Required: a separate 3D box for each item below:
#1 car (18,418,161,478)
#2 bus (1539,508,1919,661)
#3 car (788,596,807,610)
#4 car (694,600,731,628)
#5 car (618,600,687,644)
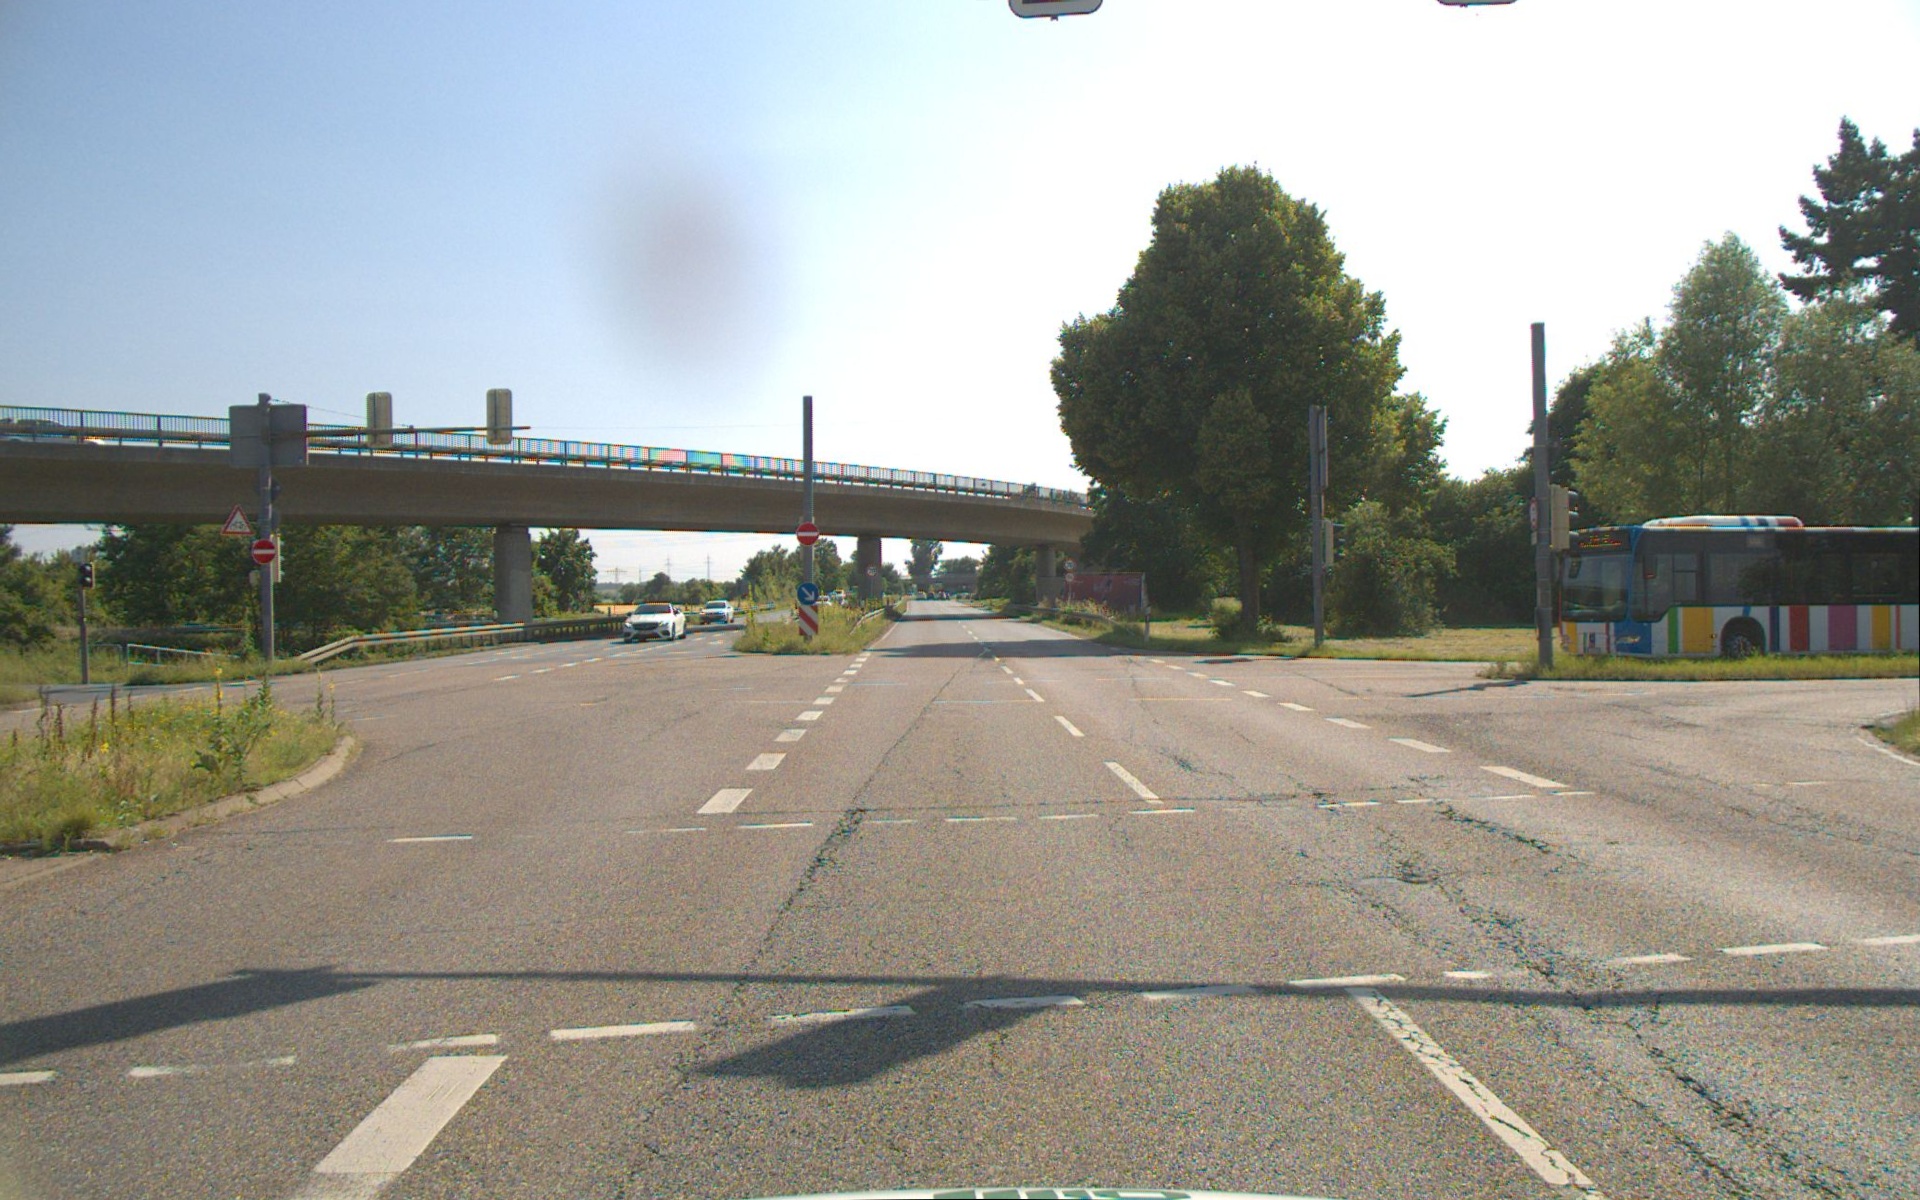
[{"bbox_3d":[-28.105,-4.888,53.482,1.709,1.495,3.734,1,-1,37],"label":"car"},{"bbox_3d":[18.451,-0.419,35.616,11.745,2.927,2.929,-2,0,-16],"label":"bus"},{"bbox_3d":[-19.278,0.380,196.290,1.954,1.585,3.997,-2,0,-3],"label":"car"},{"bbox_3d":[-15.523,0.845,103.922,1.754,1.656,3.998,-2,0,-2],"label":"car"},{"bbox_3d":[-11.555,0.800,62.376,1.819,1.473,4.239,-3,0,-2],"label":"car"}]
